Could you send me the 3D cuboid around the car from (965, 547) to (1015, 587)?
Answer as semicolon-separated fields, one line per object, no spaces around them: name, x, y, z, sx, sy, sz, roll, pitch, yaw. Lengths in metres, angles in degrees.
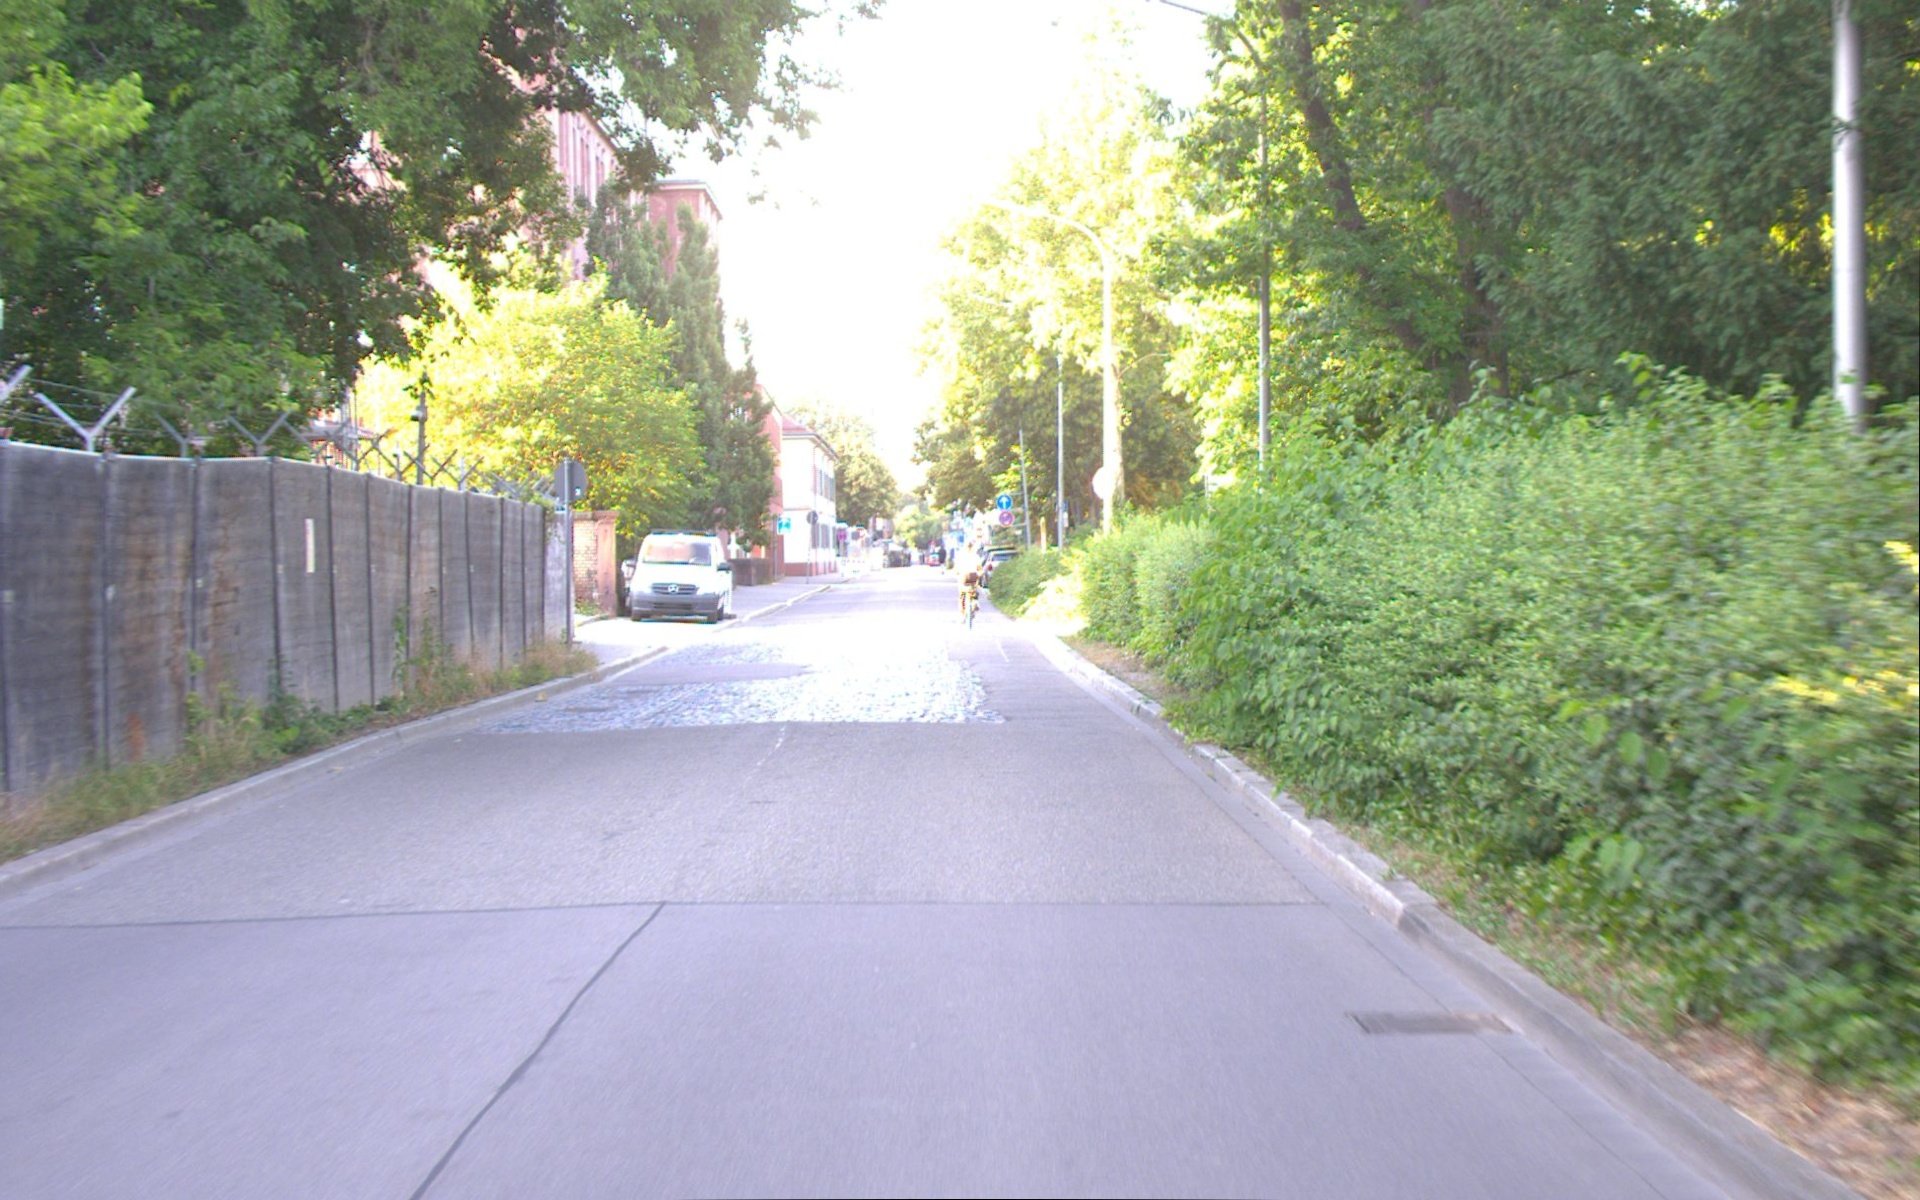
car;1.174;-1.294;134.981;1.685;1.442;3.672;-4;0;-2

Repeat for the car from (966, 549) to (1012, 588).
car;1.233;-1.351;148.566;1.715;1.532;4.049;-4;0;-2

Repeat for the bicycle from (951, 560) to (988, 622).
bicycle;0.180;-0.190;67.259;0.638;1.189;1.876;1;1;-2

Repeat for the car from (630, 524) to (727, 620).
car;-6.131;-0.588;75.357;1.882;2.007;5.226;1;0;-2

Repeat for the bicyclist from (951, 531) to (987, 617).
bicyclist;0.177;-0.511;67.446;0.639;1.662;0.843;1;1;-2
